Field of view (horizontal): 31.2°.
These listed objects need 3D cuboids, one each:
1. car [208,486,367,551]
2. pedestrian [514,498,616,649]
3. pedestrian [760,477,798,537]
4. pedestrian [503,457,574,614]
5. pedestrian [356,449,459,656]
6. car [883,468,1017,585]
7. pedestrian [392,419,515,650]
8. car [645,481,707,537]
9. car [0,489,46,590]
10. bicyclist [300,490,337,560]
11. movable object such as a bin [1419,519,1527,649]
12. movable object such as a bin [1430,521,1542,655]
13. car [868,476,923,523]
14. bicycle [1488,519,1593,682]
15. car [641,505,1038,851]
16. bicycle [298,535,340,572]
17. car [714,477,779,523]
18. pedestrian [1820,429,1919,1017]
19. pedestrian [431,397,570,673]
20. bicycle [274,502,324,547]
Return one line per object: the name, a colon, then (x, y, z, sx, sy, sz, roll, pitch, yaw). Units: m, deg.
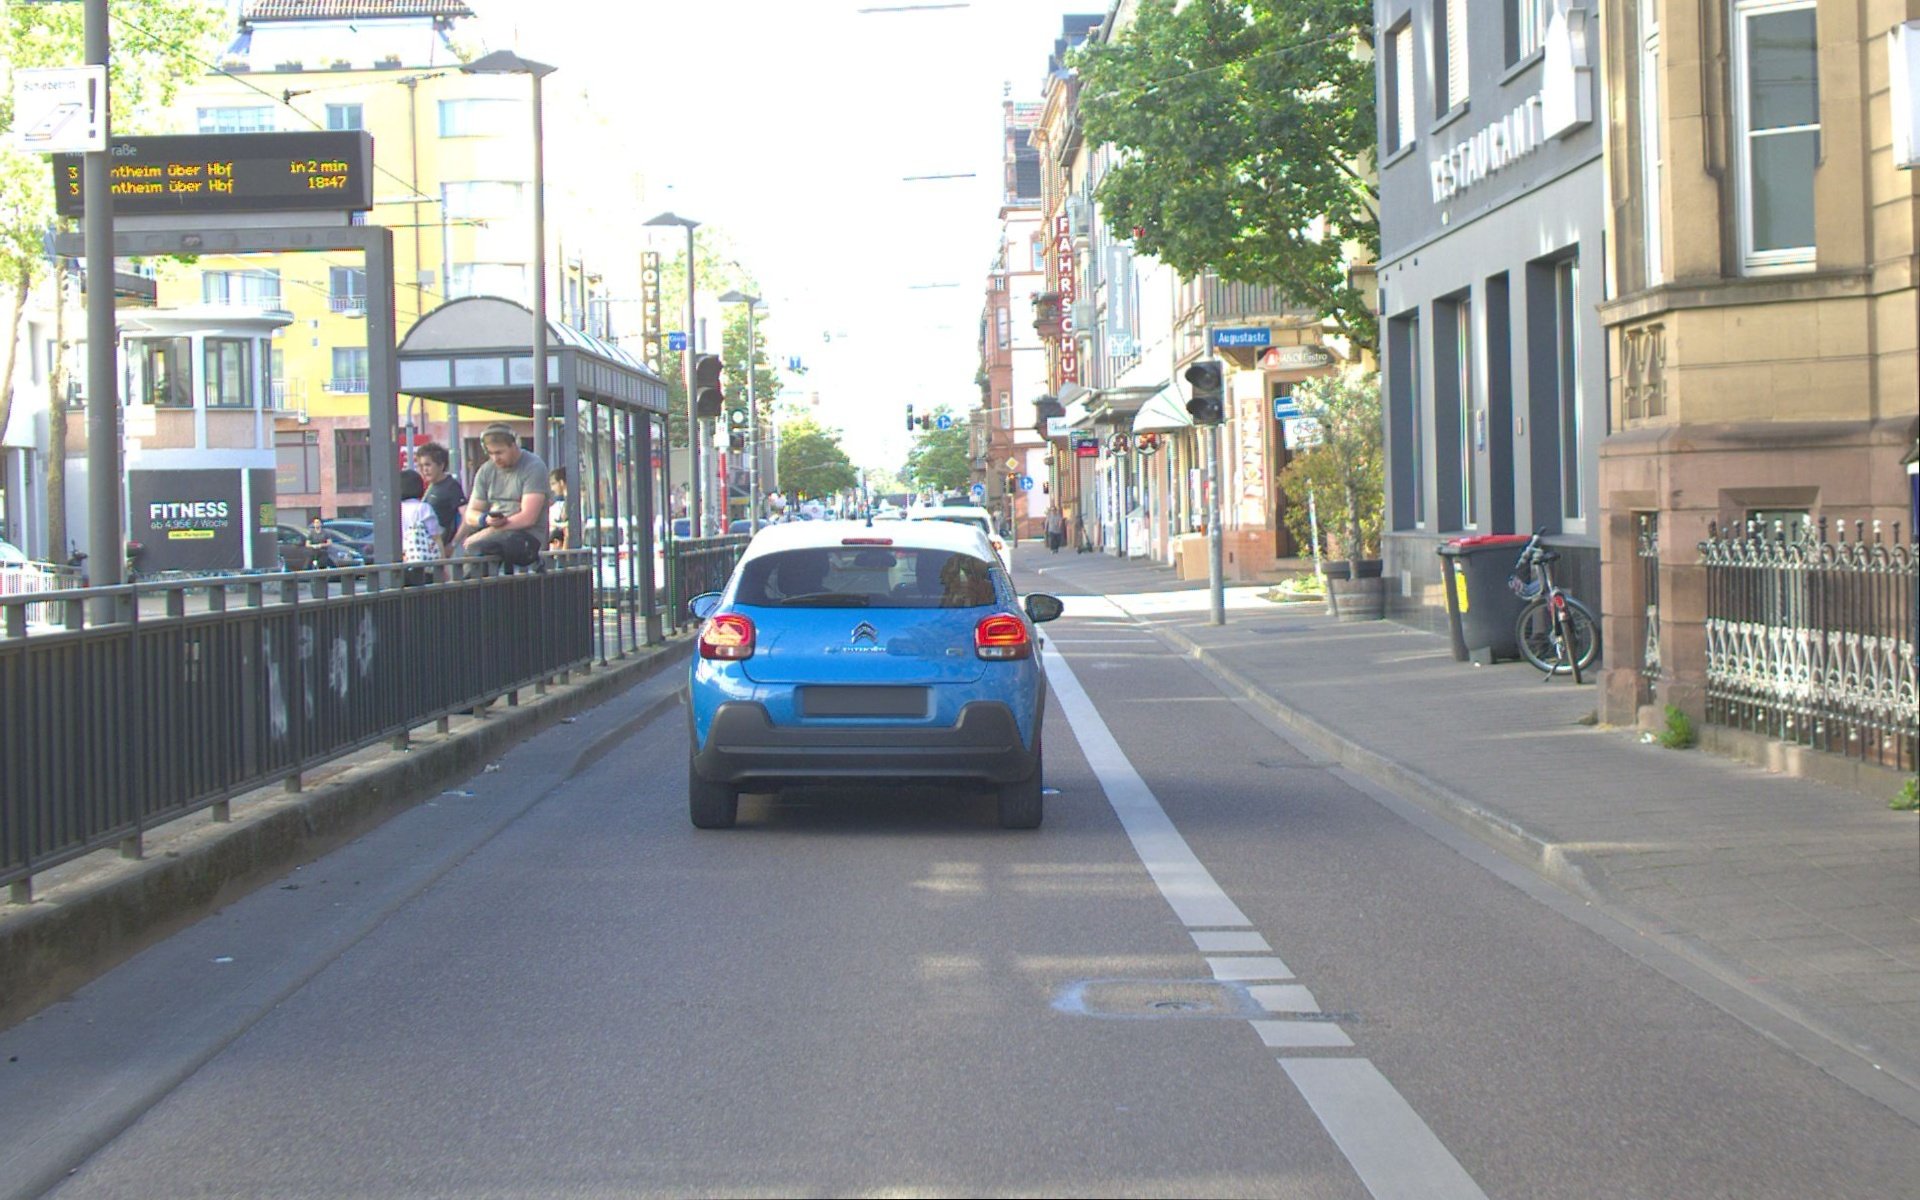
car: (-18.167, -2.211, 93.046, 3.986, 1.668, 1.958, -1, 3, -3)
pedestrian: (-3.448, -0.240, 30.062, 0.764, 1.268, 0.719, -1, 3, 2)
pedestrian: (-5.083, -2.625, 96.573, 0.838, 1.648, 0.697, -2, 4, -28)
pedestrian: (-4.234, -0.653, 34.582, 0.621, 1.553, 0.568, -1, 3, 0)
pedestrian: (-4.232, -0.375, 26.339, 0.586, 1.556, 0.469, 1, 4, 35)
car: (-0.165, -1.186, 54.000, 1.993, 1.736, 4.001, 1, 2, 0)
pedestrian: (-3.962, -0.522, 26.915, 0.718, 1.771, 0.564, 1, 4, 35)
car: (-9.135, -2.967, 110.886, 1.752, 1.609, 4.829, -2, 3, -3)
car: (-15.162, -0.895, 51.958, 1.691, 1.416, 3.647, 0, 4, 0)
bicyclist: (-14.647, -1.720, 78.539, 0.672, 1.551, 0.778, 0, 3, 1)
movable object such as a bin: (4.393, -0.143, 29.483, 0.748, 1.032, 0.754, -4, 3, 0)
movable object such as a bin: (4.389, -0.106, 28.724, 0.748, 1.032, 0.754, -4, 3, 0)
car: (-2.450, -3.866, 131.378, 1.993, 1.736, 4.001, 1, 2, 0)
bicycle: (4.364, -0.014, 25.911, 0.459, 1.119, 1.773, -2, 3, 0)
car: (-0.558, 0.308, 17.450, 1.781, 1.445, 3.655, 1, 3, 0)
bicycle: (-14.644, -1.076, 78.577, 0.566, 0.755, 1.938, 0, 3, 1)
car: (-7.792, -3.672, 125.941, 1.951, 1.480, 4.001, -2, 3, 2)
pedestrian: (3.267, 0.353, 10.801, 0.779, 1.743, 1.093, 0, 5, -3)
pedestrian: (-2.895, -0.418, 21.717, 0.636, 1.692, 0.933, 1, 2, 7)
bicycle: (-16.334, -1.870, 84.961, 0.679, 0.999, 2.687, 0, 3, 1)
